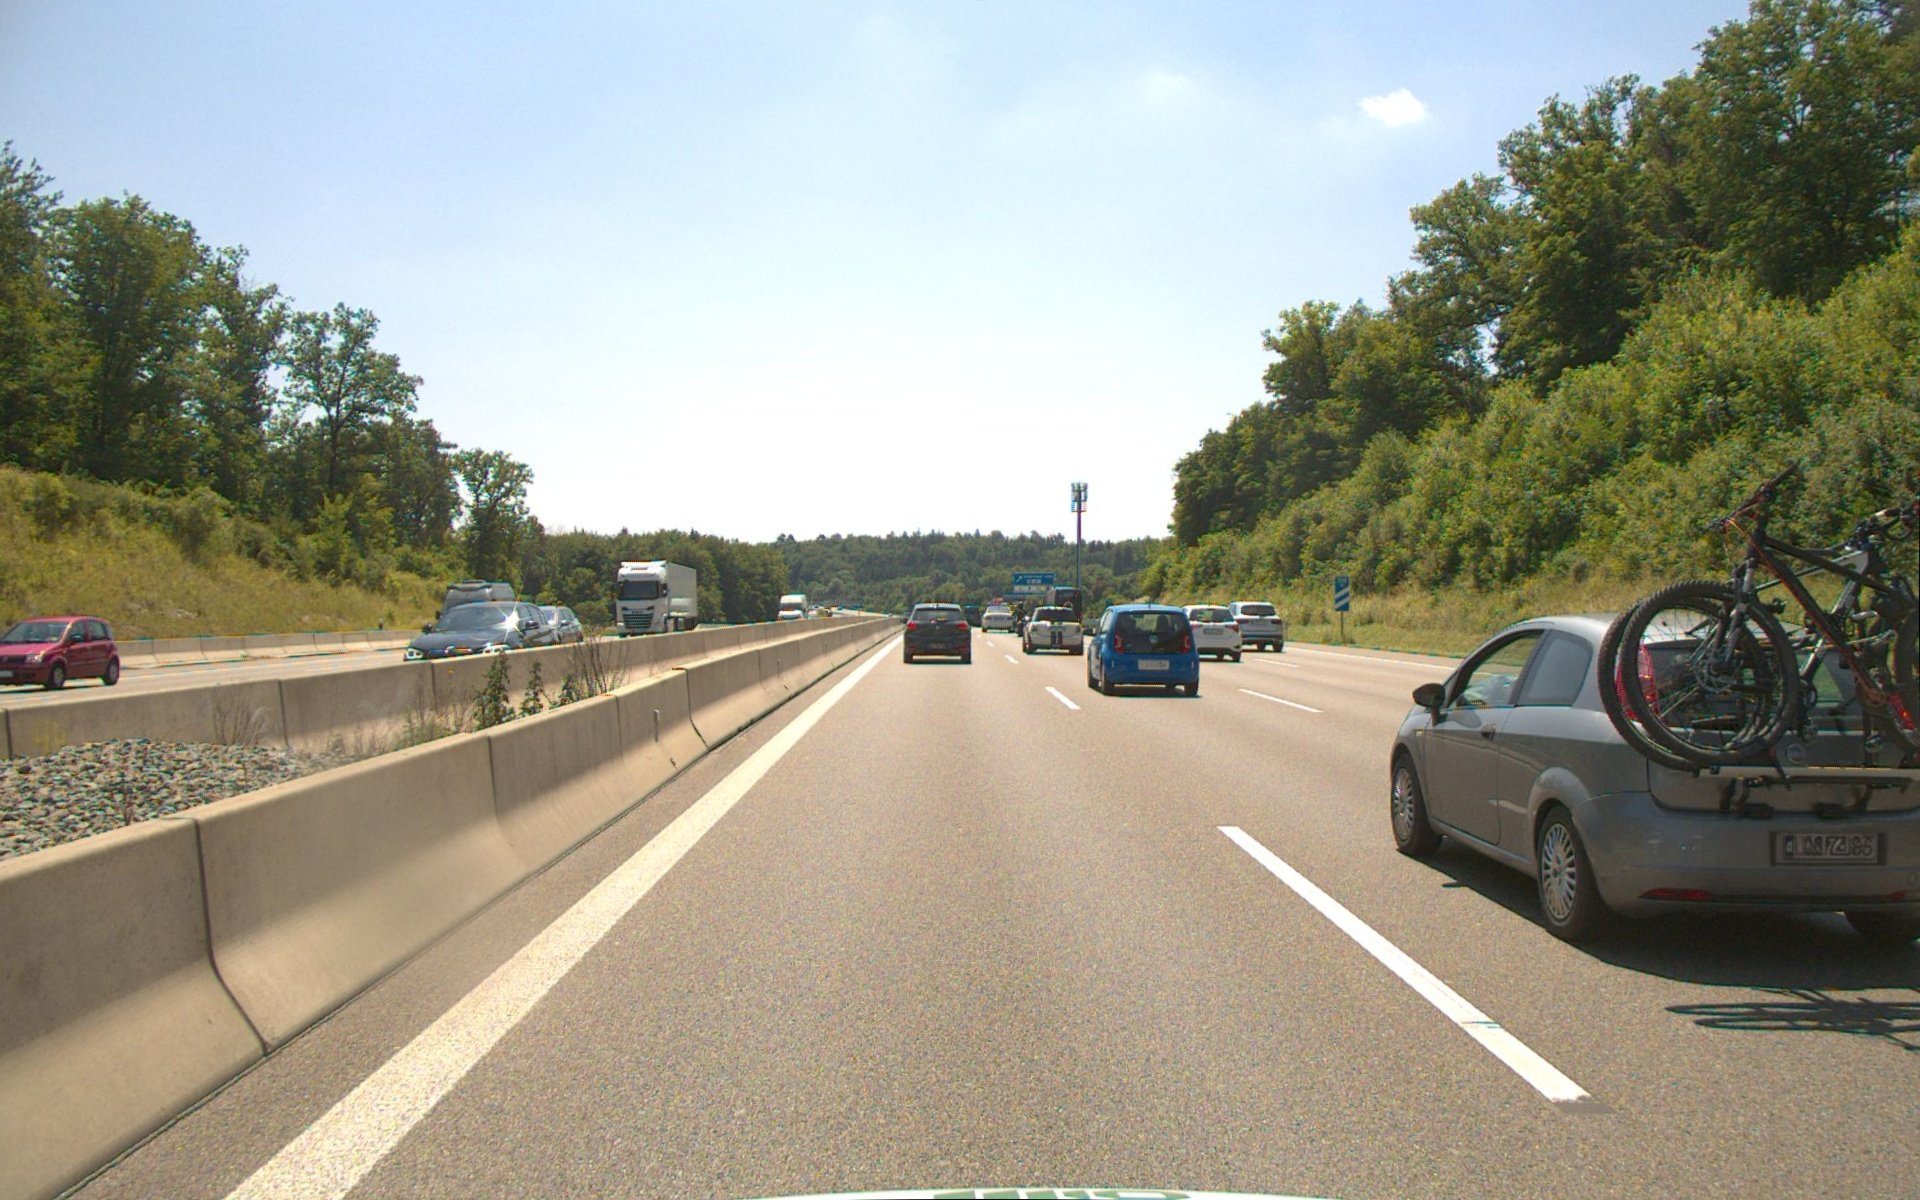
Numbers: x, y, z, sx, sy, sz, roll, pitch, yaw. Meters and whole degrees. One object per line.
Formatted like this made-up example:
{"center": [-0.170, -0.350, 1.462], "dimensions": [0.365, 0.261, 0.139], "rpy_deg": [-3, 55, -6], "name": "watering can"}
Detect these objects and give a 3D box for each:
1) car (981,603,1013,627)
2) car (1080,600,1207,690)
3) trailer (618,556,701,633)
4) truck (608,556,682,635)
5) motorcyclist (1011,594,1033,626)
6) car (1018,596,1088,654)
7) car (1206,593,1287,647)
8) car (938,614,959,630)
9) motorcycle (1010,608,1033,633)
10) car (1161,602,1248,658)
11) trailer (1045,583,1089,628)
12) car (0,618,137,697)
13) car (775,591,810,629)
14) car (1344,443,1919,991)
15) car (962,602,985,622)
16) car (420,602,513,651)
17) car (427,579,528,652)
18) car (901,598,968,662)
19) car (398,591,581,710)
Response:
{"center": [2.081, 0.836, 94.228], "dimensions": [1.746, 1.287, 3.460], "rpy_deg": [-1, 0, 0], "name": "car"}
{"center": [3.077, 0.753, 28.484], "dimensions": [1.702, 1.436, 3.999], "rpy_deg": [0, -1, -1], "name": "car"}
{"center": [-17.503, -0.264, 97.279], "dimensions": [2.867, 4.156, 13.832], "rpy_deg": [0, 0, -2], "name": "trailer"}
{"center": [-17.213, -0.256, 90.862], "dimensions": [2.837, 4.140, 7.785], "rpy_deg": [-1, 0, -3], "name": "truck"}
{"center": [2.956, 0.481, 79.486], "dimensions": [0.943, 1.463, 1.234], "rpy_deg": [-2, -1, -2], "name": "motorcyclist"}
{"center": [2.771, 0.784, 49.994], "dimensions": [1.804, 1.579, 3.999], "rpy_deg": [3, -2, 0], "name": "car"}
{"center": [9.814, 0.662, 56.999], "dimensions": [1.764, 1.761, 5.238], "rpy_deg": [1, 0, -1], "name": "car"}
{"center": [-1.299, 2.407, 180.459], "dimensions": [1.955, 1.713, 4.419], "rpy_deg": [1, 0, -5], "name": "car"}
{"center": [2.968, 0.961, 79.503], "dimensions": [0.957, 1.149, 2.270], "rpy_deg": [-1, 0, -1], "name": "motorcycle"}
{"center": [6.774, 0.805, 46.152], "dimensions": [1.632, 1.458, 4.374], "rpy_deg": [-1, 0, -2], "name": "car"}
{"center": [9.710, 0.593, 151.925], "dimensions": [2.799, 3.753, 13.536], "rpy_deg": [-1, -1, -1], "name": "trailer"}
{"center": [-19.382, 1.190, 35.289], "dimensions": [1.833, 1.527, 3.719], "rpy_deg": [-1, 0, -1], "name": "car"}
{"center": [-13.301, 0.836, 131.896], "dimensions": [2.043, 2.848, 7.600], "rpy_deg": [-3, 0, -1], "name": "car"}
{"center": [3.576, 0.452, 8.741], "dimensions": [1.921, 2.089, 4.783], "rpy_deg": [1, 0, -1], "name": "car"}
{"center": [1.325, 1.198, 163.937], "dimensions": [2.055, 1.884, 4.079], "rpy_deg": [-1, 0, -2], "name": "car"}
{"center": [-15.325, 0.802, 51.567], "dimensions": [1.633, 1.432, 4.439], "rpy_deg": [-1, 0, -1], "name": "car"}
{"center": [-19.155, 0.603, 66.039], "dimensions": [2.097, 2.710, 6.778], "rpy_deg": [-2, 0, -1], "name": "car"}
{"center": [-0.637, 0.717, 41.495], "dimensions": [1.591, 1.513, 3.684], "rpy_deg": [0, 0, -1], "name": "car"}
{"center": [-7.765, 0.774, 27.738], "dimensions": [1.833, 1.808, 4.467], "rpy_deg": [-1, 0, -1], "name": "car"}
